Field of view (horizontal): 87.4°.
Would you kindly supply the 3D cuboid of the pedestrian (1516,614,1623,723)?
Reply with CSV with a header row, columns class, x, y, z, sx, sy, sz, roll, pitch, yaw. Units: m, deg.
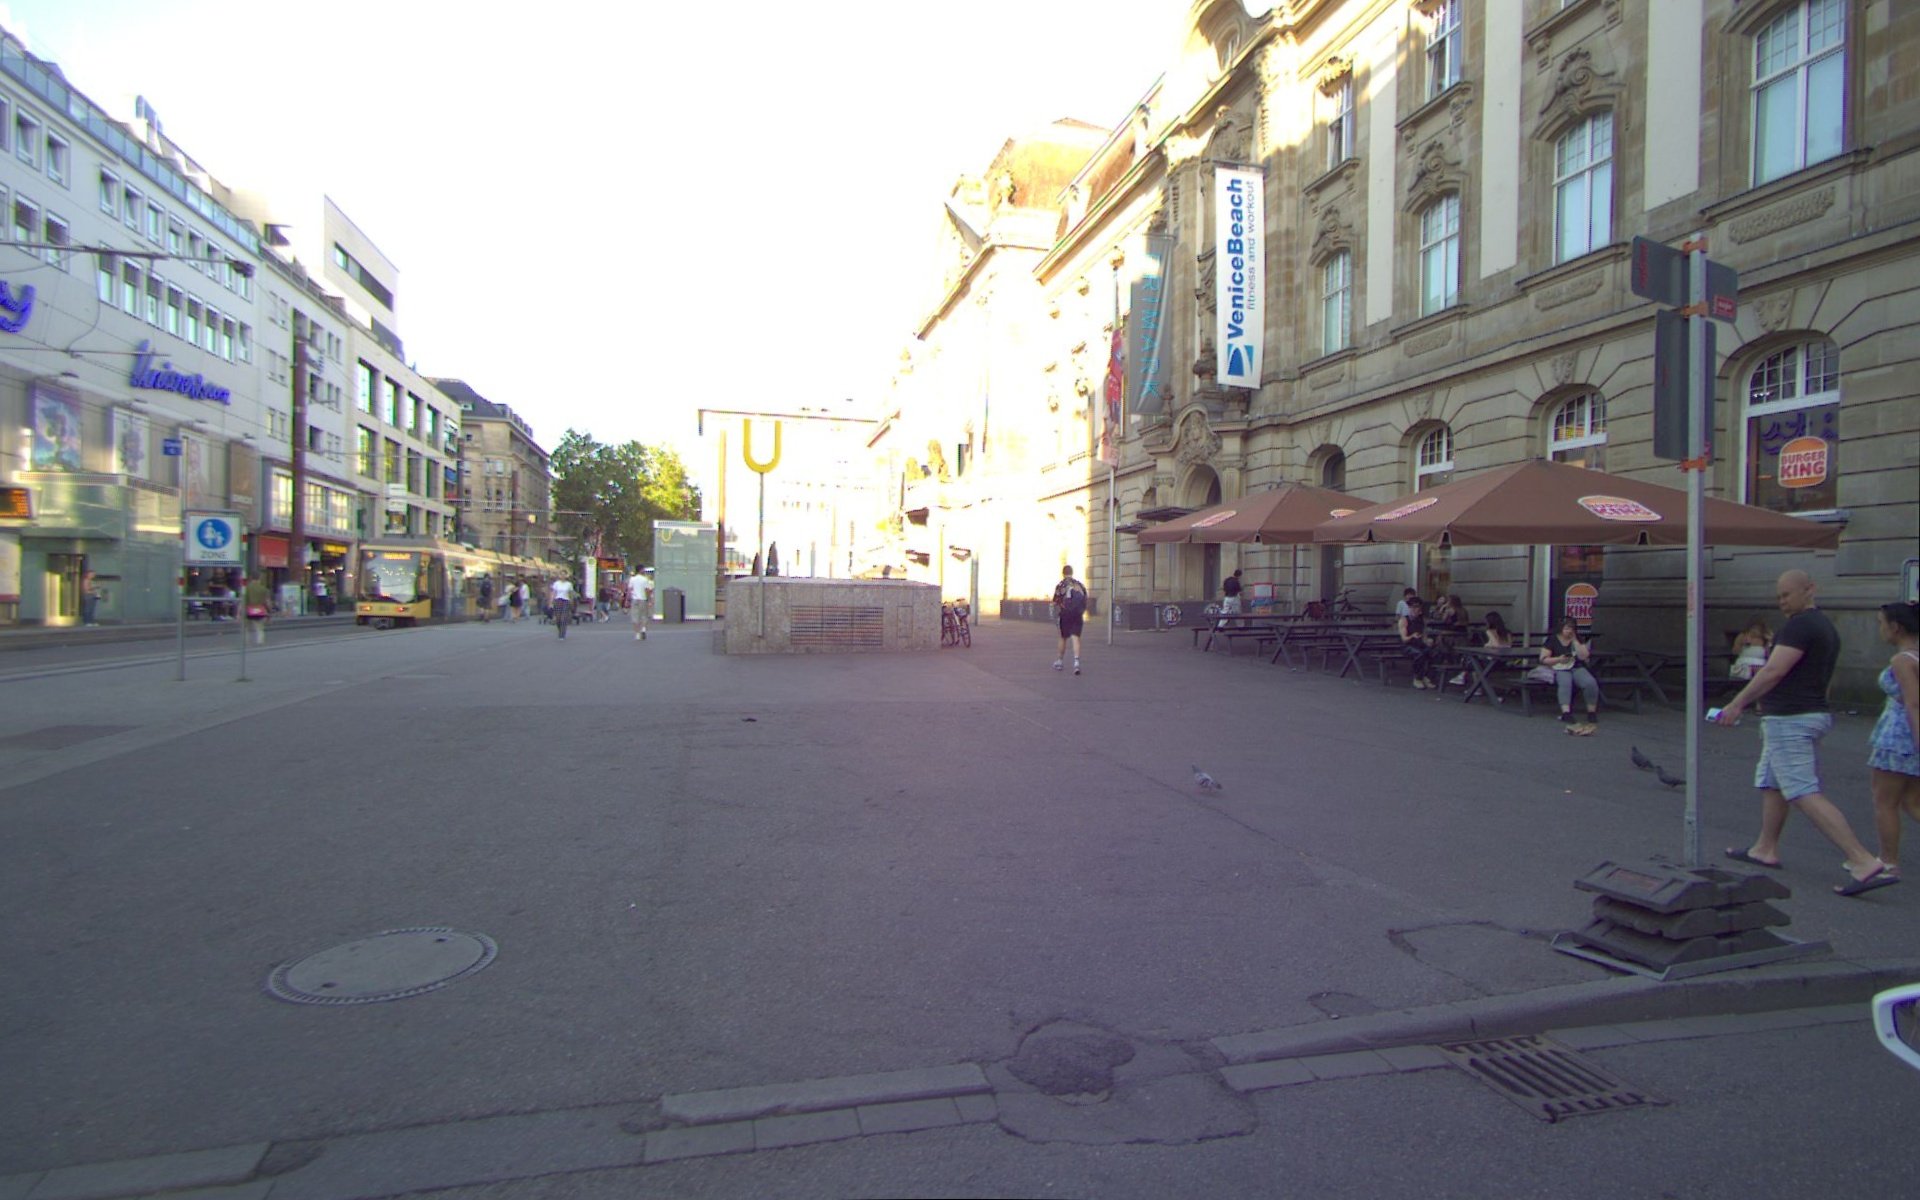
class,x,y,z,sx,sy,sz,roll,pitch,yaw
pedestrian,7.643,0.840,12.626,0.766,1.259,0.828,2,3,0

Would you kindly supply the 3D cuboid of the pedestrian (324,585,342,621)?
class,x,y,z,sx,sy,sz,roll,pitch,yaw
pedestrian,-30.422,0.150,48.739,0.594,1.750,0.605,1,0,-21

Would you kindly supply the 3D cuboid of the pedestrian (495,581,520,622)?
class,x,y,z,sx,sy,sz,roll,pitch,yaw
pedestrian,-18.243,0.057,40.537,0.782,1.600,0.766,1,1,-16

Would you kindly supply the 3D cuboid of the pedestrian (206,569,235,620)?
class,x,y,z,sx,sy,sz,roll,pitch,yaw
pedestrian,-25.561,-0.189,34.707,0.705,1.748,0.765,1,-1,-45

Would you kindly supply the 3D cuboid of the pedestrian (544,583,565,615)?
class,x,y,z,sx,sy,sz,roll,pitch,yaw
pedestrian,-21.510,-0.058,53.279,0.754,1.683,0.794,1,0,-2

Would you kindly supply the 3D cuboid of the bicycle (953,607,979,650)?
class,x,y,z,sx,sy,sz,roll,pitch,yaw
bicycle,0.123,0.595,21.482,0.311,0.879,0.997,0,1,-15

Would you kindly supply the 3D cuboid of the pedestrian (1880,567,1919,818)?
class,x,y,z,sx,sy,sz,roll,pitch,yaw
pedestrian,7.618,0.707,7.390,0.854,1.864,0.870,0,3,-19

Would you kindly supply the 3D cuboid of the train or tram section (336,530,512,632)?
class,x,y,z,sx,sy,sz,roll,pitch,yaw
train or tram section,-20.944,-0.673,40.473,2.762,3.364,14.465,1,0,-14

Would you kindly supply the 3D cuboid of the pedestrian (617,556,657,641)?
class,x,y,z,sx,sy,sz,roll,pitch,yaw
pedestrian,-7.998,-0.032,24.910,0.758,2.040,0.916,1,0,-9

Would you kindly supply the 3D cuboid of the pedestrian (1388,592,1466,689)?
class,x,y,z,sx,sy,sz,roll,pitch,yaw
pedestrian,7.123,0.601,15.348,0.791,1.402,0.652,2,3,-3

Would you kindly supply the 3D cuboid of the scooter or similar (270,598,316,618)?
class,x,y,z,sx,sy,sz,roll,pitch,yaw
scooter or similar,-27.712,0.333,41.732,0.548,0.842,1.524,0,-1,25

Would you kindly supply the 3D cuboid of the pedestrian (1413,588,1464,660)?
class,x,y,z,sx,sy,sz,roll,pitch,yaw
pedestrian,9.248,0.458,19.424,0.584,1.326,0.580,1,3,-16

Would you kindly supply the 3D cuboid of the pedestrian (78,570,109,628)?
class,x,y,z,sx,sy,sz,roll,pitch,yaw
pedestrian,-24.747,-0.013,28.694,0.505,1.639,0.502,1,0,-23

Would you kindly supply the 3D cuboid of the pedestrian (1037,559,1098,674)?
class,x,y,z,sx,sy,sz,roll,pitch,yaw
pedestrian,1.763,0.266,16.603,0.796,1.848,0.804,1,1,-10

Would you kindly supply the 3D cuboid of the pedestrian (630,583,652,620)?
class,x,y,z,sx,sy,sz,roll,pitch,yaw
pedestrian,-14.980,0.068,47.247,0.779,1.683,0.769,1,0,-2

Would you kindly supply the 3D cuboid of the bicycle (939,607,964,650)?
class,x,y,z,sx,sy,sz,roll,pitch,yaw
bicycle,-0.188,0.586,21.401,0.311,0.879,0.997,0,1,-15

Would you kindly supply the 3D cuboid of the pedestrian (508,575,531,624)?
class,x,y,z,sx,sy,sz,roll,pitch,yaw
pedestrian,-16.764,-0.025,38.215,0.727,1.847,0.814,1,0,-28

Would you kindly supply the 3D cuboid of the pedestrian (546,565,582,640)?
class,x,y,z,sx,sy,sz,roll,pitch,yaw
pedestrian,-9.953,0.055,25.283,0.763,1.848,0.936,-1,1,-17

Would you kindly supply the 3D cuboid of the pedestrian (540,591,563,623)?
class,x,y,z,sx,sy,sz,roll,pitch,yaw
pedestrian,-16.038,0.284,39.443,0.782,1.238,0.766,1,0,-18

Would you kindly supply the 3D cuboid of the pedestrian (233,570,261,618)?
class,x,y,z,sx,sy,sz,roll,pitch,yaw
pedestrian,-25.910,-0.209,36.495,0.704,1.748,0.765,1,-1,-43

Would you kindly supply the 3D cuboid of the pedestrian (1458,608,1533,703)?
class,x,y,z,sx,sy,sz,roll,pitch,yaw
pedestrian,7.490,0.766,14.084,0.605,1.243,0.700,2,3,0

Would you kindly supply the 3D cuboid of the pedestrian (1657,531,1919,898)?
class,x,y,z,sx,sy,sz,roll,pitch,yaw
pedestrian,4.644,0.593,5.607,0.793,1.864,0.871,2,0,-14

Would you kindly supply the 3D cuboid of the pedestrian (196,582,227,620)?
class,x,y,z,sx,sy,sz,roll,pitch,yaw
pedestrian,-28.067,0.035,37.675,0.697,1.397,0.718,1,0,-15

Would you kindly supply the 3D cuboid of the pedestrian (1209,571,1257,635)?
class,x,y,z,sx,sy,sz,roll,pitch,yaw
pedestrian,6.968,0.066,25.639,0.838,1.587,0.845,3,3,43

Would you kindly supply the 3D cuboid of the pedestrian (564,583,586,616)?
class,x,y,z,sx,sy,sz,roll,pitch,yaw
pedestrian,-19.493,-0.030,50.888,0.779,1.683,0.769,1,0,-2

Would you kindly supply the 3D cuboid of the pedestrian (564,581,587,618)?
class,x,y,z,sx,sy,sz,roll,pitch,yaw
pedestrian,-17.749,-0.015,46.401,0.779,1.683,0.769,1,0,-2

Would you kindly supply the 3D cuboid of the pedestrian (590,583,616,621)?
class,x,y,z,sx,sy,sz,roll,pitch,yaw
pedestrian,-16.119,0.089,45.306,0.779,1.683,0.769,1,1,21

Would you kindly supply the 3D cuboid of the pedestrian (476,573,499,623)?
class,x,y,z,sx,sy,sz,roll,pitch,yaw
pedestrian,-17.981,-0.069,38.235,0.727,1.847,0.814,2,-4,-28

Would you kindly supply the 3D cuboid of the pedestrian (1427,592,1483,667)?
class,x,y,z,sx,sy,sz,roll,pitch,yaw
pedestrian,9.007,0.530,18.276,0.599,1.326,0.606,1,3,-18

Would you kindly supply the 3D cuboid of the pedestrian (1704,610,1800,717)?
class,x,y,z,sx,sy,sz,roll,pitch,yaw
pedestrian,10.507,0.824,13.356,0.651,1.327,0.773,1,4,11

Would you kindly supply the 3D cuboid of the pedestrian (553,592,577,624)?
class,x,y,z,sx,sy,sz,roll,pitch,yaw
pedestrian,-15.272,0.301,38.810,0.782,1.238,0.766,1,0,-18

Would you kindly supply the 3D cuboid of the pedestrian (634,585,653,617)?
class,x,y,z,sx,sy,sz,roll,pitch,yaw
pedestrian,-17.199,0.062,54.562,0.779,1.683,0.769,1,0,-2

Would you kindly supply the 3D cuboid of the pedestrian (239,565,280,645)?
class,x,y,z,sx,sy,sz,roll,pitch,yaw
pedestrian,-15.667,0.119,22.464,0.713,1.748,0.702,1,0,-36

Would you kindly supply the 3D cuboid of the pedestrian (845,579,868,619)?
class,x,y,z,sx,sy,sz,roll,pitch,yaw
pedestrian,-4.453,-0.053,43.290,0.644,1.728,0.723,2,2,41

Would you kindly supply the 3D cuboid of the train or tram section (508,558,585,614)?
class,x,y,z,sx,sy,sz,roll,pitch,yaw
train or tram section,-27.929,-0.902,68.573,2.762,3.364,14.465,1,0,-14

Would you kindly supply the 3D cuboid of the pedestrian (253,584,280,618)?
class,x,y,z,sx,sy,sz,roll,pitch,yaw
pedestrian,-28.500,0.050,41.273,0.697,1.397,0.718,1,0,-15

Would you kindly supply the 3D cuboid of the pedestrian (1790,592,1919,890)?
class,x,y,z,sx,sy,sz,roll,pitch,yaw
pedestrian,5.512,0.772,5.716,0.793,1.602,0.871,2,0,-14

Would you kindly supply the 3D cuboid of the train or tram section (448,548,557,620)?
class,x,y,z,sx,sy,sz,roll,pitch,yaw
train or tram section,-24.430,-0.787,54.510,2.762,3.364,14.465,1,0,-14

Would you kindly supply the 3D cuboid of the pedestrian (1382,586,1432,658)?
class,x,y,z,sx,sy,sz,roll,pitch,yaw
pedestrian,8.586,0.418,19.315,0.584,1.326,0.579,1,3,-18

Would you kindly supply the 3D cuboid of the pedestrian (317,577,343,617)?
class,x,y,z,sx,sy,sz,roll,pitch,yaw
pedestrian,-27.397,-0.127,43.711,0.762,1.748,0.707,1,0,-14

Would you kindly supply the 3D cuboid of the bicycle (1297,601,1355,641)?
class,x,y,z,sx,sy,sz,roll,pitch,yaw
bicycle,8.565,0.486,23.511,1.301,0.906,0.409,0,2,-19
